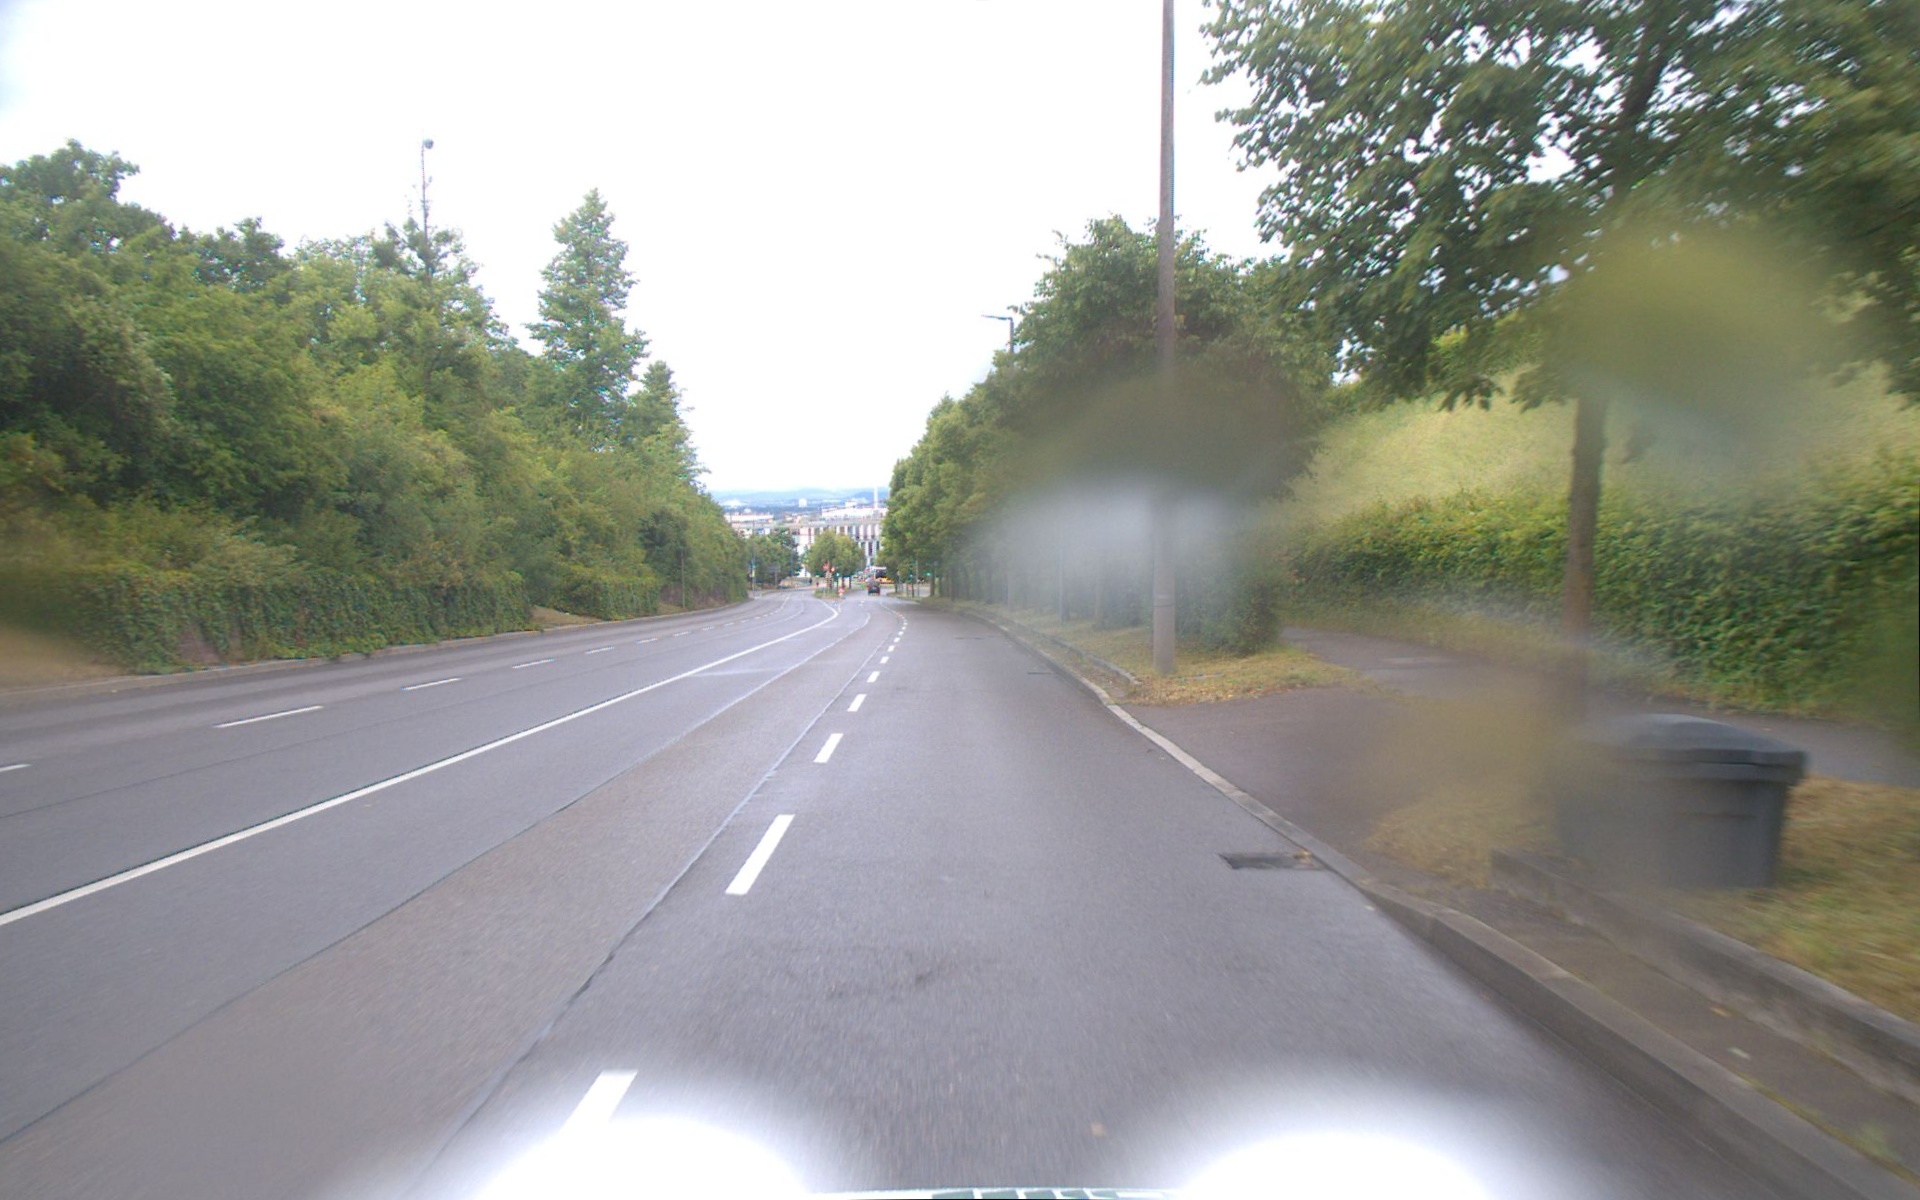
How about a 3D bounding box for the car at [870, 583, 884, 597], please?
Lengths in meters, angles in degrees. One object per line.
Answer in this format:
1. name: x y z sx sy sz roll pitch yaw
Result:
1. car: -11.249 -1.303 223.680 1.812 1.731 3.790 1 -1 -3
